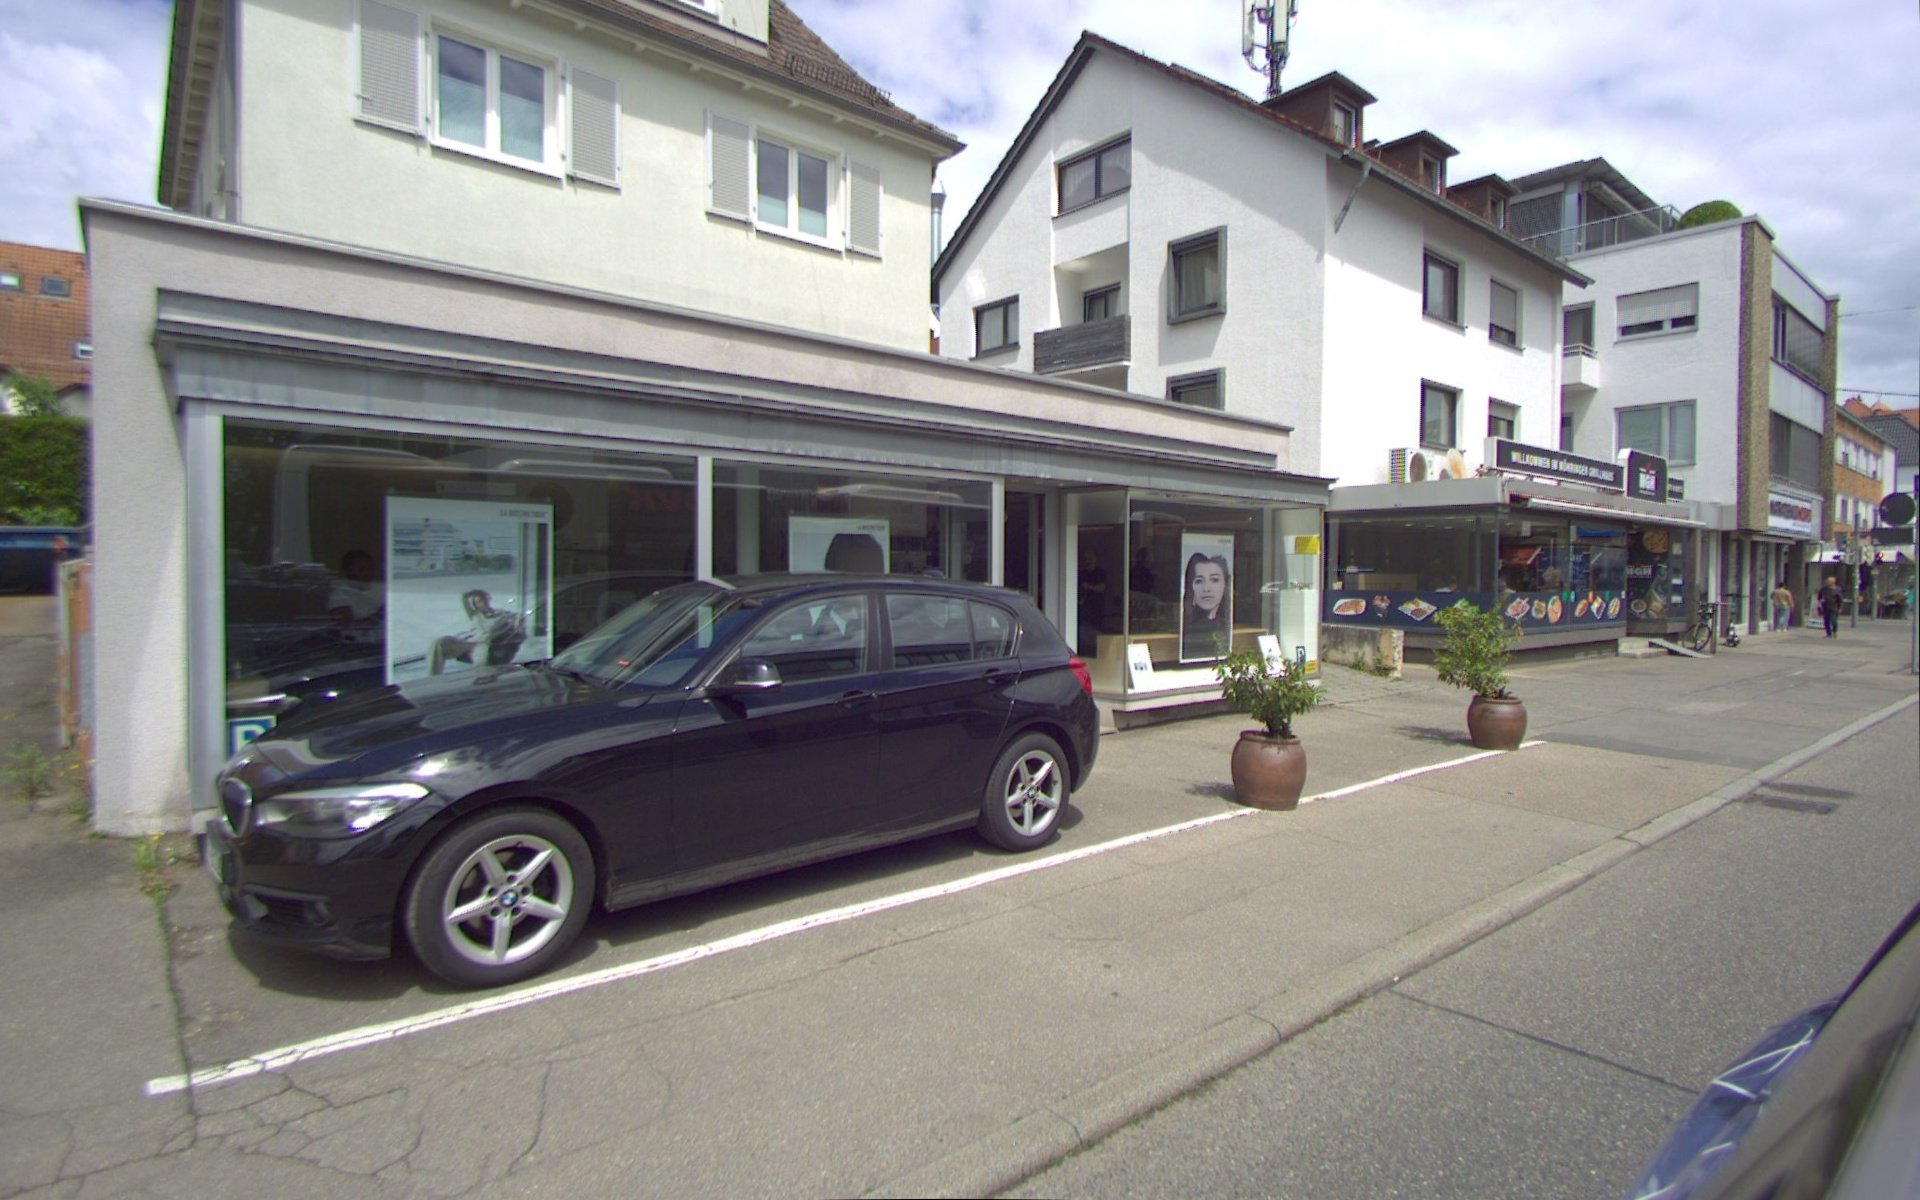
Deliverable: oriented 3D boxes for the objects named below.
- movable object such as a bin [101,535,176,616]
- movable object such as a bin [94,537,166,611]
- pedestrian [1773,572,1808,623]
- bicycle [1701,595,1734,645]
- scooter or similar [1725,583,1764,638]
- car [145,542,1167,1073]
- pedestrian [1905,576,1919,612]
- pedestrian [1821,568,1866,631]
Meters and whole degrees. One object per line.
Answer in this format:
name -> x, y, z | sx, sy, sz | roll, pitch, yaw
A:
movable object such as a bin -> -11.011, -0.342, 13.566 | 0.751, 1.031, 0.609 | -1, 4, -41
movable object such as a bin -> -11.472, -0.369, 13.986 | 0.751, 0.981, 0.609 | -1, 4, -41
pedestrian -> 25.429, -0.086, 30.976 | 0.707, 1.517, 0.681 | 0, 2, -40
bicycle -> 17.043, 0.433, 22.770 | 0.474, 1.040, 1.612 | 2, 2, 40
scooter or similar -> 19.026, 0.234, 24.558 | 0.686, 1.283, 1.169 | 2, 2, 37
car -> -1.126, 0.512, 5.022 | 4.458, 1.465, 1.971 | -1, 2, -42
pedestrian -> 41.556, -0.264, 43.810 | 0.804, 1.544, 0.779 | 0, 2, -38
pedestrian -> 24.683, -0.028, 28.269 | 0.793, 1.691, 0.796 | 0, 2, -41
